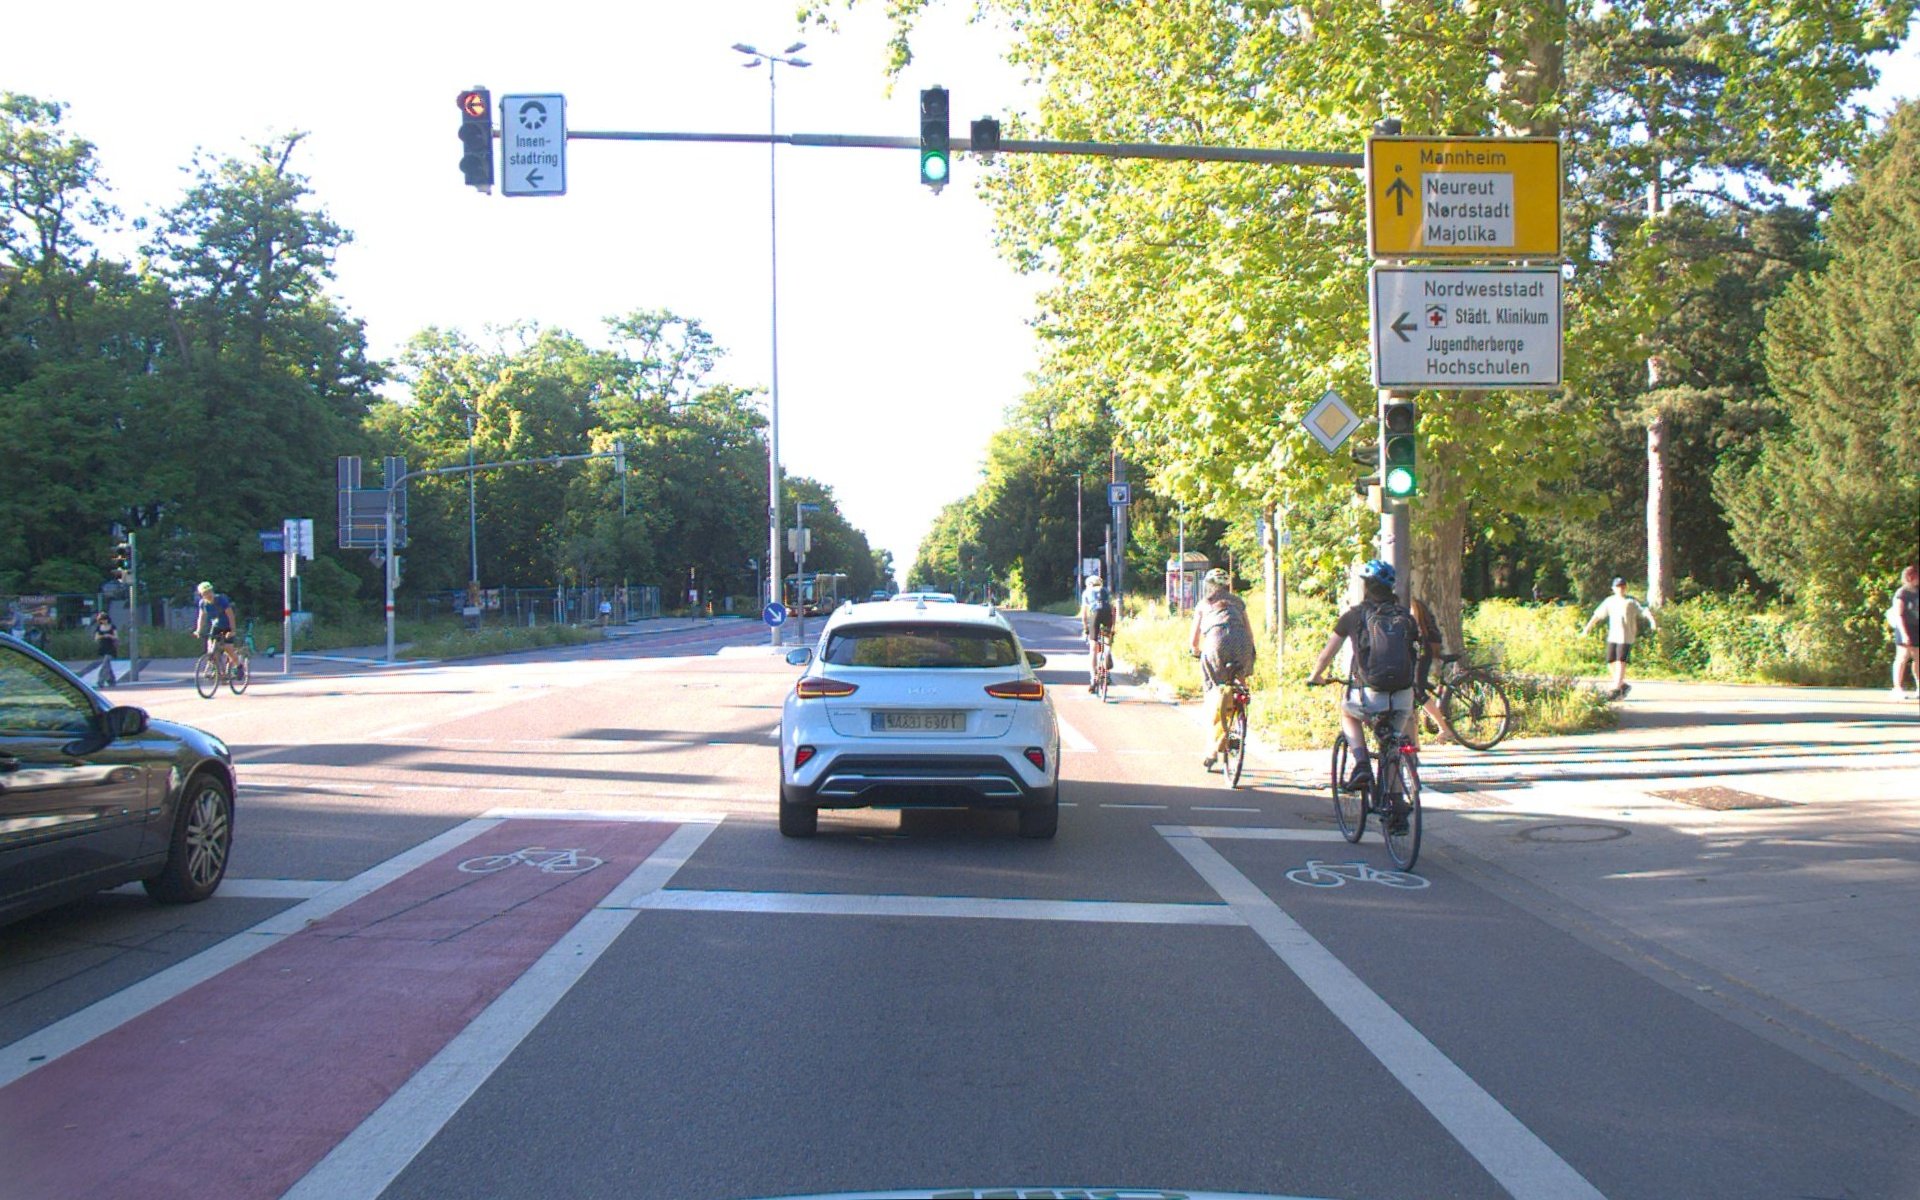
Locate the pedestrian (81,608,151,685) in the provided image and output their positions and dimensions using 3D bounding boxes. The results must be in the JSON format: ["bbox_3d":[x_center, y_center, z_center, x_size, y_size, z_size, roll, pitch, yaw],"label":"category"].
[{"bbox_3d":[-18.645,1.019,36.563,1.067,1.631,1.000,-1,0,-7],"label":"pedestrian"}]

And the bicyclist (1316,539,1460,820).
[{"bbox_3d":[2.564,0.462,9.975,0.652,1.630,0.721,1,0,-2],"label":"bicyclist"}]

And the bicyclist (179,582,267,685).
[{"bbox_3d":[-12.123,0.540,27.253,0.857,1.636,1.188,-2,0,1],"label":"bicyclist"}]

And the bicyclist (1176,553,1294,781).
[{"bbox_3d":[2.294,0.539,13.912,0.738,1.827,1.164,1,0,-2],"label":"bicyclist"}]

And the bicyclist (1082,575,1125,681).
[{"bbox_3d":[2.059,0.403,23.822,0.543,1.504,0.716,0,-1,-1],"label":"bicyclist"}]

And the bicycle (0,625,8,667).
[{"bbox_3d":[-27.700,1.271,46.225,1.826,1.168,0.442,0,-1,-7],"label":"bicycle"}]

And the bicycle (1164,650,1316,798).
[{"bbox_3d":[2.288,0.982,13.858,0.742,1.031,2.568,1,0,-2],"label":"bicycle"}]

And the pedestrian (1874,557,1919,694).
[{"bbox_3d":[12.193,0.325,21.133,0.675,1.729,0.644,0,-1,-1],"label":"pedestrian"}]

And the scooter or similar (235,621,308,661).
[{"bbox_3d":[-20.219,1.201,48.603,0.697,1.144,1.916,0,-1,32],"label":"scooter or similar"}]

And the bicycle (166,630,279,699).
[{"bbox_3d":[-12.111,1.038,27.255,0.650,1.006,2.505,-2,0,2],"label":"bicycle"}]

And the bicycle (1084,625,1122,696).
[{"bbox_3d":[2.056,0.861,23.829,0.393,0.973,1.551,0,0,-1],"label":"bicycle"}]

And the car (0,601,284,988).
[{"bbox_3d":[-4.425,0.748,6.639,1.670,1.429,4.264,-1,0,0],"label":"car"}]

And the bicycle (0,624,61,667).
[{"bbox_3d":[-26.068,1.262,46.045,1.826,1.168,0.290,0,-1,-8],"label":"bicycle"}]

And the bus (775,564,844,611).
[{"bbox_3d":[-12.822,-1.045,142.526,3.662,3.737,13.248,-1,0,4],"label":"bus"}]

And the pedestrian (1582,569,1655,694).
[{"bbox_3d":[8.323,0.391,20.897,0.802,1.544,0.915,0,-1,26],"label":"pedestrian"}]

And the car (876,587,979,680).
[{"bbox_3d":[-0.602,0.556,29.294,1.694,1.509,3.515,-1,0,-2],"label":"car"}]

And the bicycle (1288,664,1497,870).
[{"bbox_3d":[2.558,0.946,10.027,0.655,1.027,2.080,1,0,-2],"label":"bicycle"}]

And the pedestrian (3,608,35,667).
[{"bbox_3d":[-26.076,1.047,45.827,0.617,1.608,0.444,-1,0,-10],"label":"pedestrian"}]

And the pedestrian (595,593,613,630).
[{"bbox_3d":[-17.815,0.586,82.790,0.768,1.817,0.751,0,-1,0],"label":"pedestrian"}]

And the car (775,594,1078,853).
[{"bbox_3d":[-0.255,0.720,11.722,1.784,1.506,3.935,0,0,-2],"label":"car"}]

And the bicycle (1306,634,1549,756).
[{"bbox_3d":[4.350,0.865,15.428,2.057,0.993,0.748,-2,0,-13],"label":"bicycle"}]

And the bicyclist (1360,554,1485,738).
[{"bbox_3d":[4.305,0.416,15.418,0.832,1.642,0.733,-2,0,-13],"label":"bicyclist"}]
